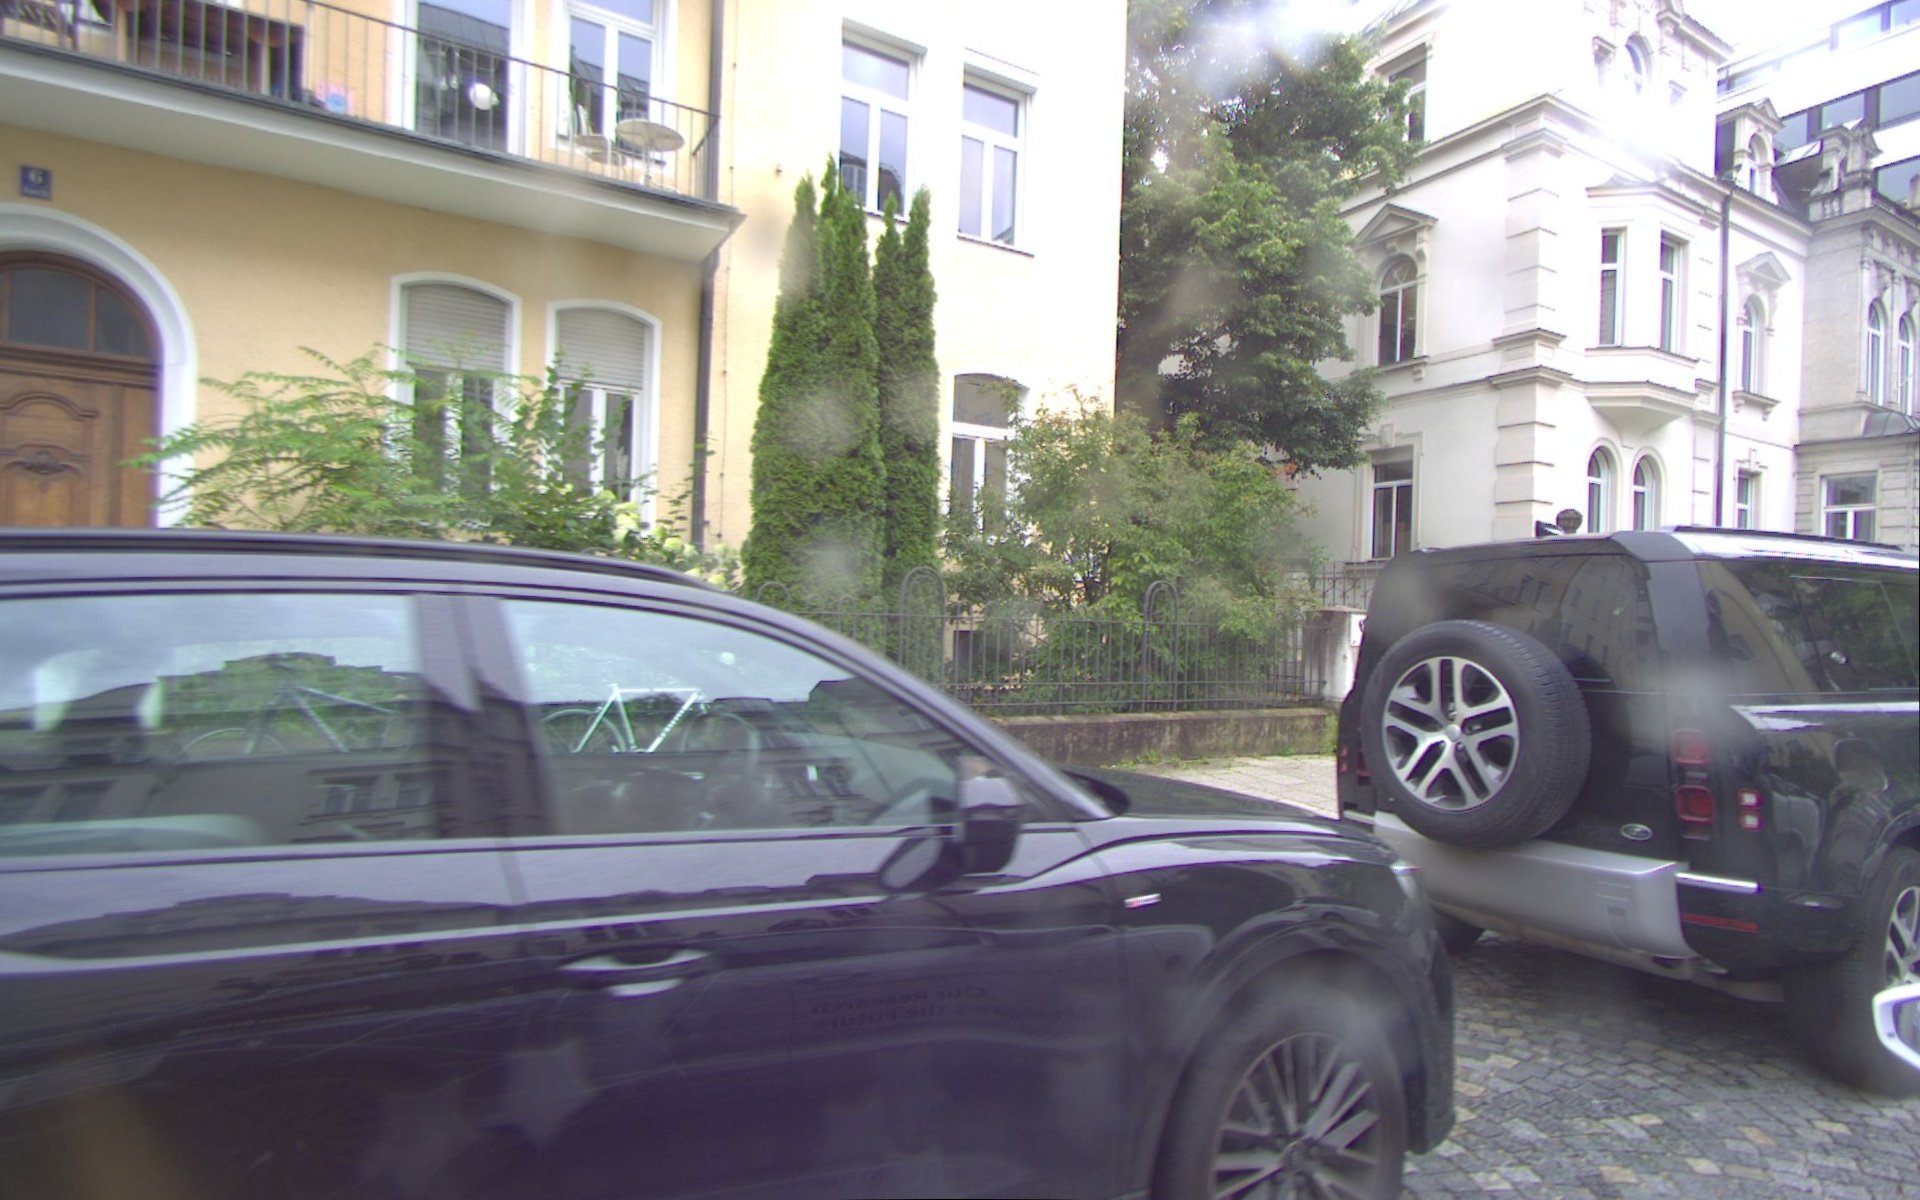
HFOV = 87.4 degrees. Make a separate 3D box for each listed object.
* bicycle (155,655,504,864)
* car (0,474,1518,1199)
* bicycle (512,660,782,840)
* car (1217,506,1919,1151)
[{"bbox_3d":[-3.394,0.833,5.532,1.554,1.016,0.350,2,0,-29],"label":"bicycle"},{"bbox_3d":[-0.719,0.717,2.234,4.007,1.610,1.573,3,-3,-29],"label":"car"},{"bbox_3d":[-1.940,0.903,6.318,1.554,1.016,0.350,2,0,-29],"label":"bicycle"},{"bbox_3d":[3.666,0.665,4.758,4.665,1.761,1.973,2,0,-30],"label":"car"}]
